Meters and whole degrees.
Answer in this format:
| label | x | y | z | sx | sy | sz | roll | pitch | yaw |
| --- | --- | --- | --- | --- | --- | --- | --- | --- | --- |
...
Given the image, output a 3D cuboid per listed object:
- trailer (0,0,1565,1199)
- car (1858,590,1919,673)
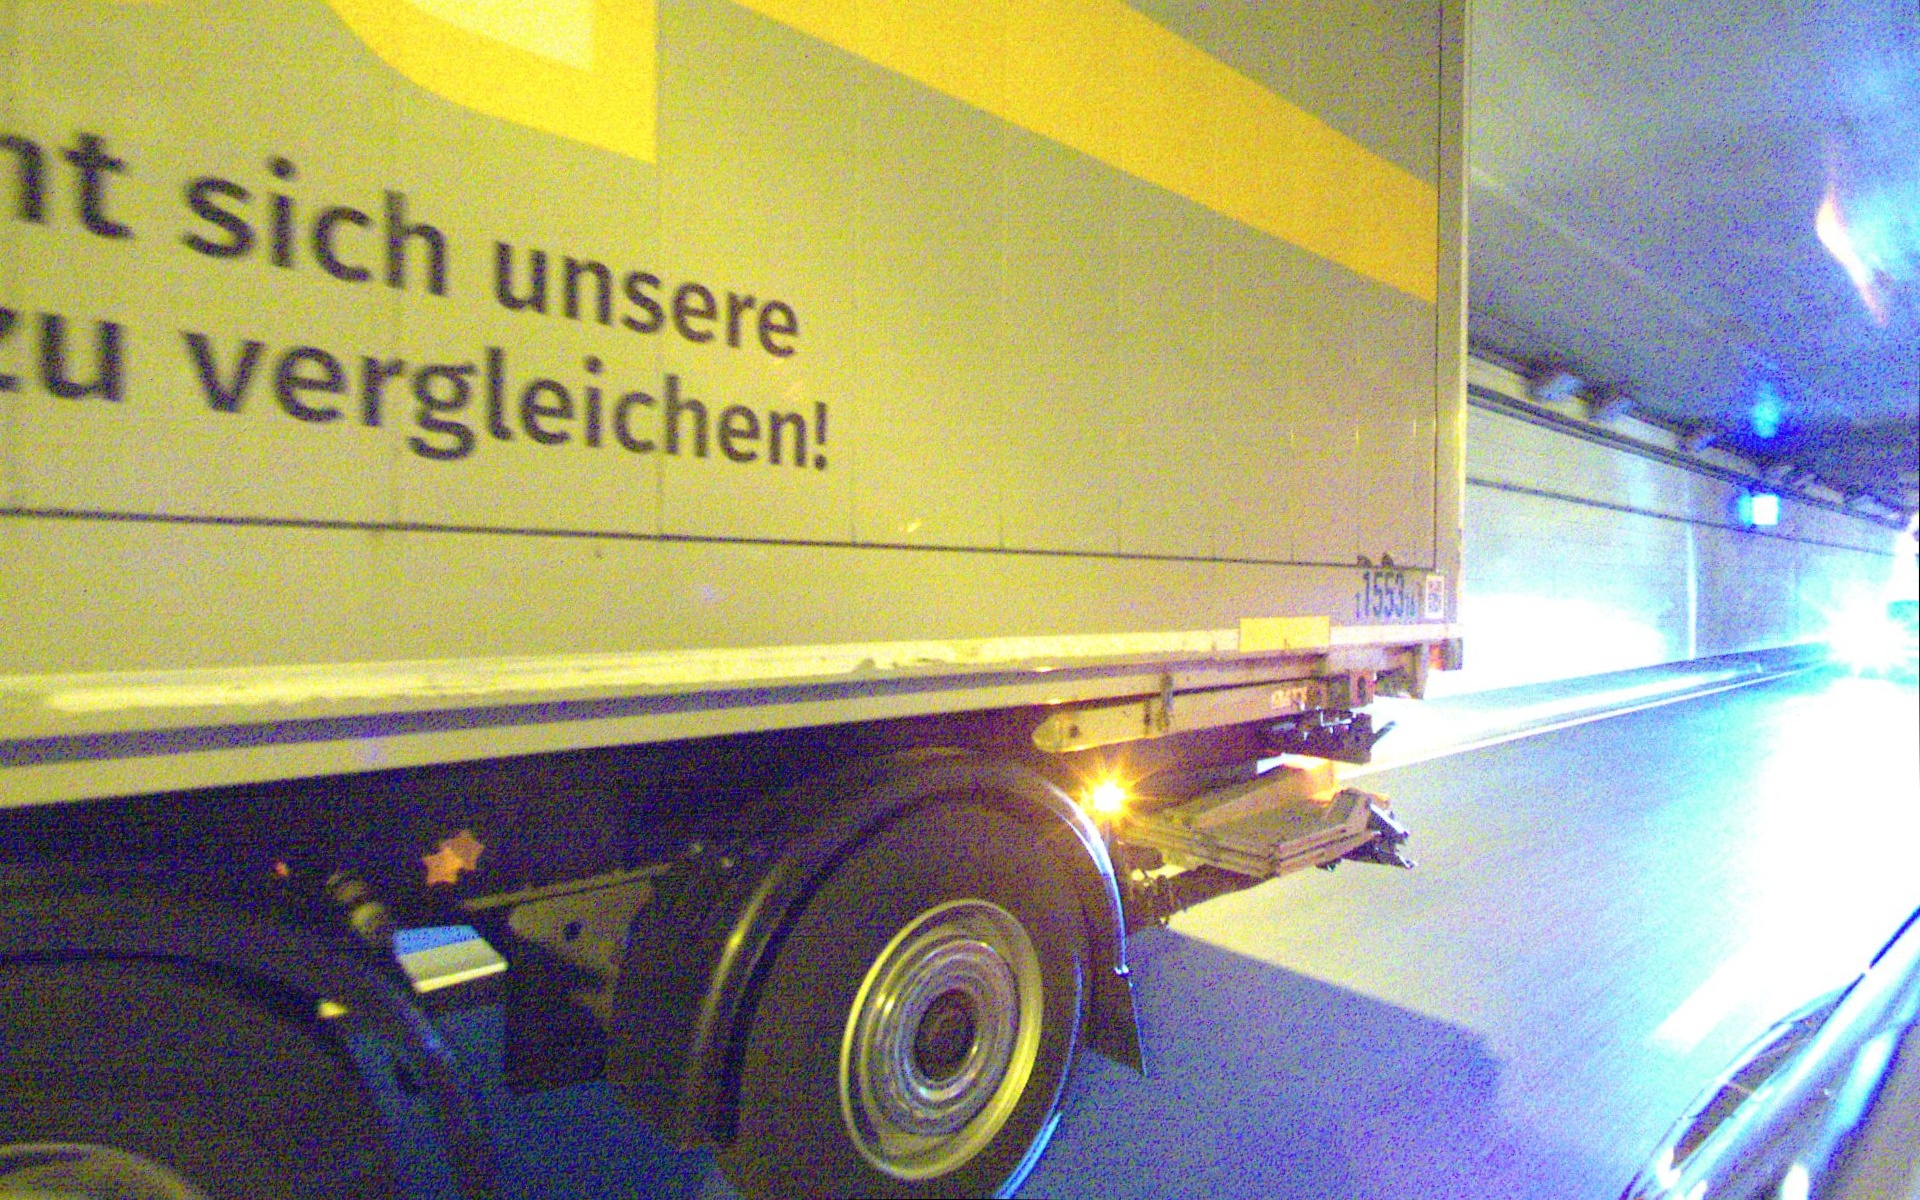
| label | x | y | z | sx | sy | sz | roll | pitch | yaw |
| --- | --- | --- | --- | --- | --- | --- | --- | --- | --- |
| trailer | -2.031 | -0.589 | 1.969 | 8.790 | 3.907 | 2.880 | 0 | 0 | -41 |
| car | 18.159 | 0.541 | 18.811 | 3.733 | 1.420 | 1.733 | -1 | 0 | -41 |
